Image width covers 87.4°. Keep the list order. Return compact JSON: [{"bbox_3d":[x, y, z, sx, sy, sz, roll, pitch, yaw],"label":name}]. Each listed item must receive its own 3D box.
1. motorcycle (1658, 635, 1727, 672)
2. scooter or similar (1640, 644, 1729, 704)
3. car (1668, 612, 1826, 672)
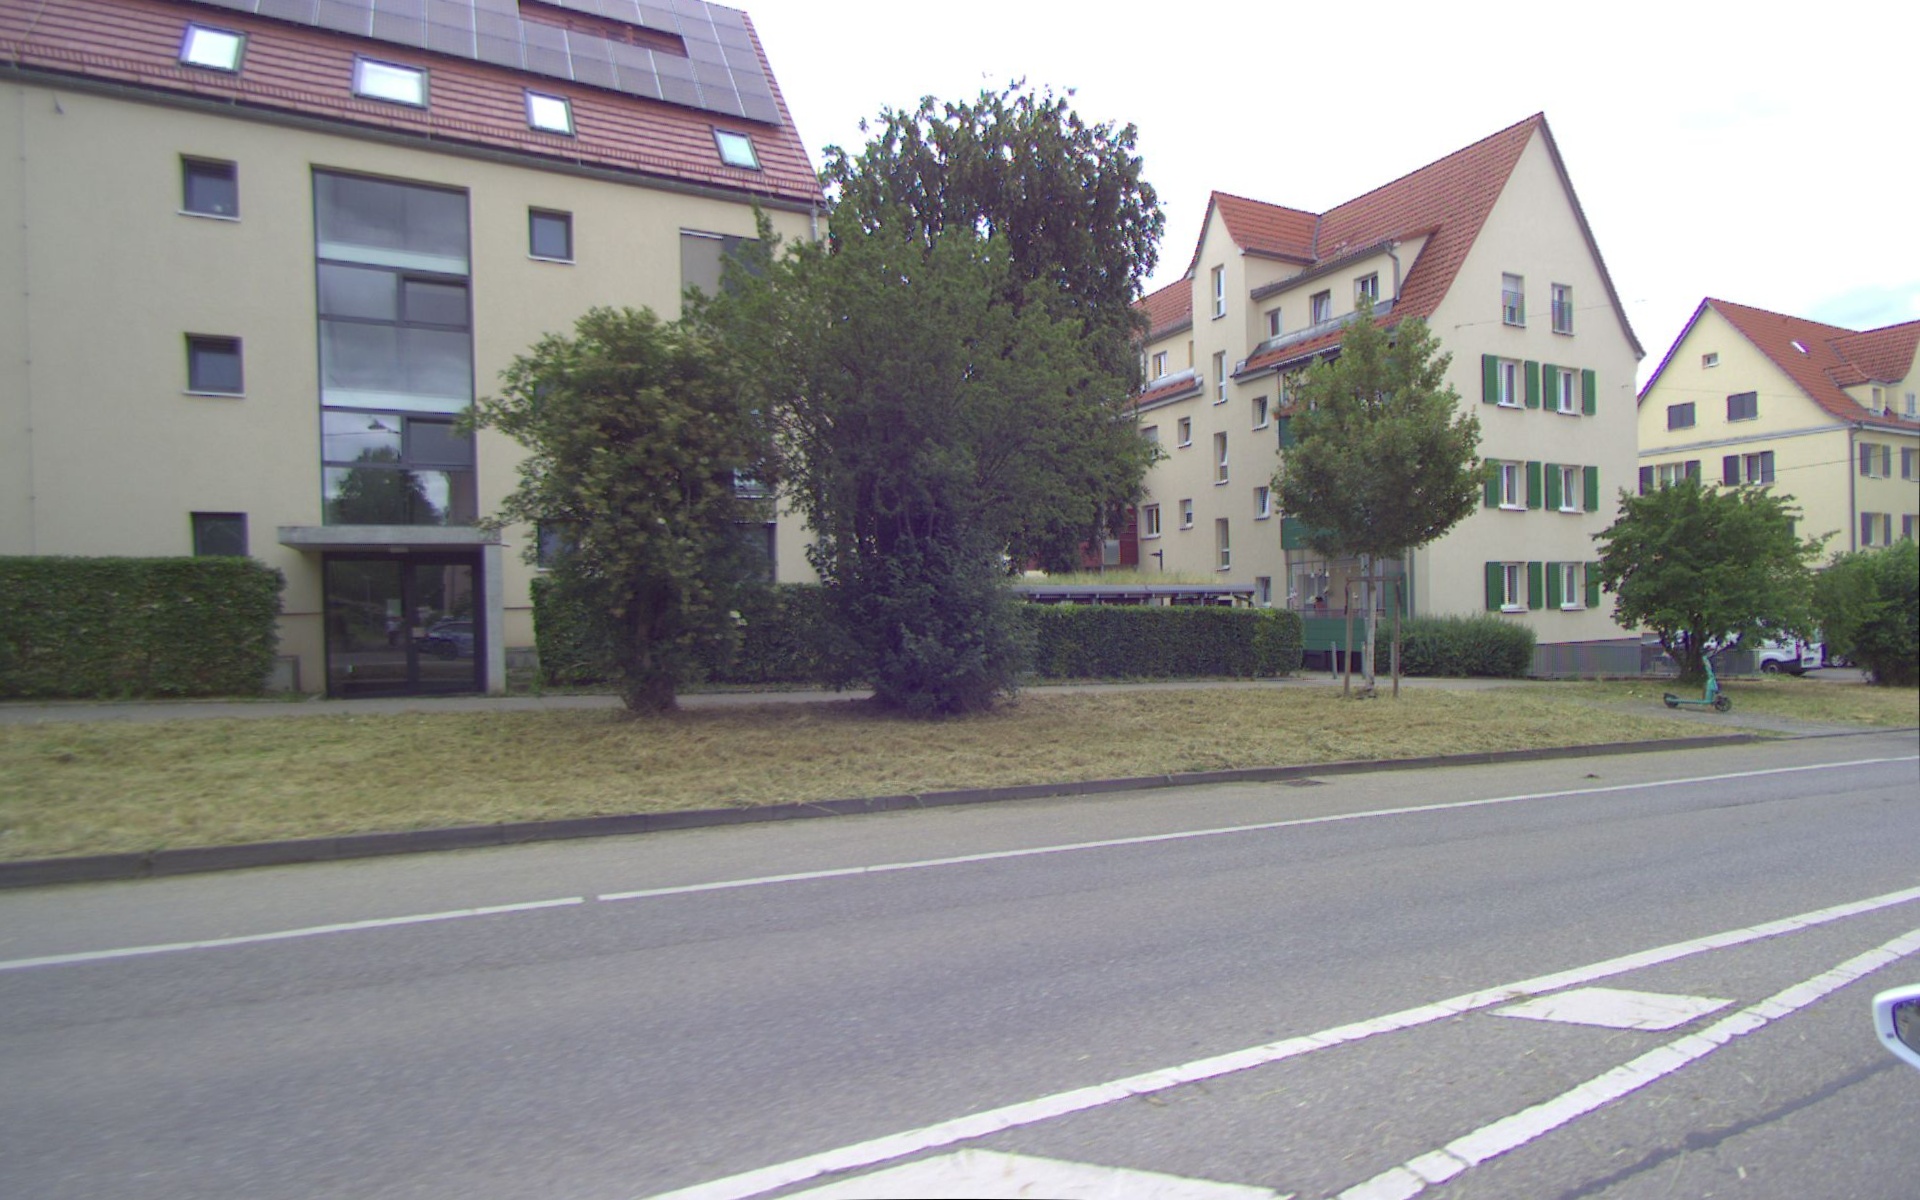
[{"bbox_3d":[28.424,2.046,39.051,0.996,1.296,2.607,1,0,6],"label":"motorcycle"},{"bbox_3d":[14.326,1.442,19.884,0.461,1.100,1.363,0,-1,-31],"label":"scooter or similar"},{"bbox_3d":[31.713,1.634,40.637,1.969,2.283,4.702,1,-1,-26],"label":"car"}]
